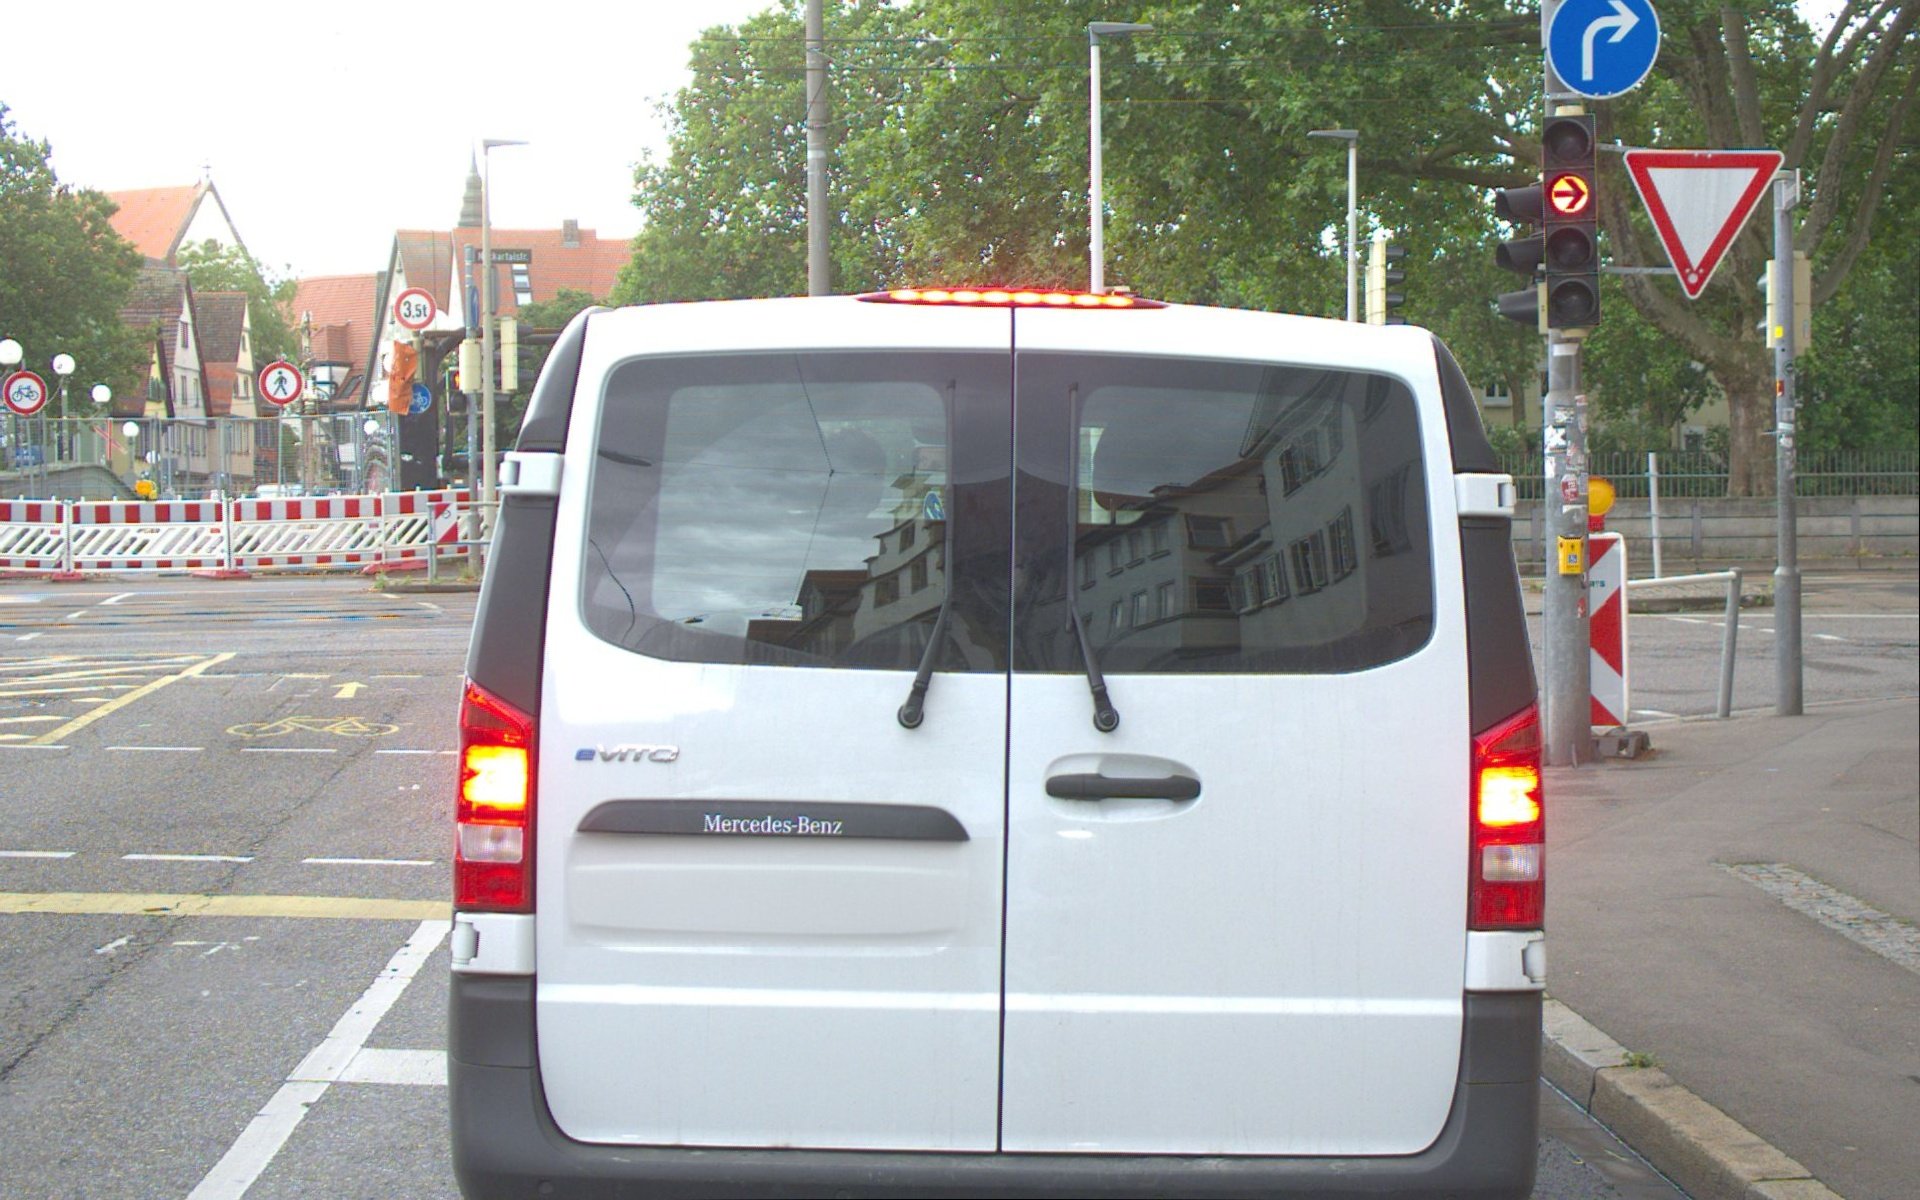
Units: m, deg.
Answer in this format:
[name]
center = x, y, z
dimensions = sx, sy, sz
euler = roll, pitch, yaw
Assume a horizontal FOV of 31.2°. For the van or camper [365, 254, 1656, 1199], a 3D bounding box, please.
[van or camper]
center = -0.063, 0.344, 7.432
dimensions = 1.937, 1.918, 4.442
euler = 1, 3, -4
